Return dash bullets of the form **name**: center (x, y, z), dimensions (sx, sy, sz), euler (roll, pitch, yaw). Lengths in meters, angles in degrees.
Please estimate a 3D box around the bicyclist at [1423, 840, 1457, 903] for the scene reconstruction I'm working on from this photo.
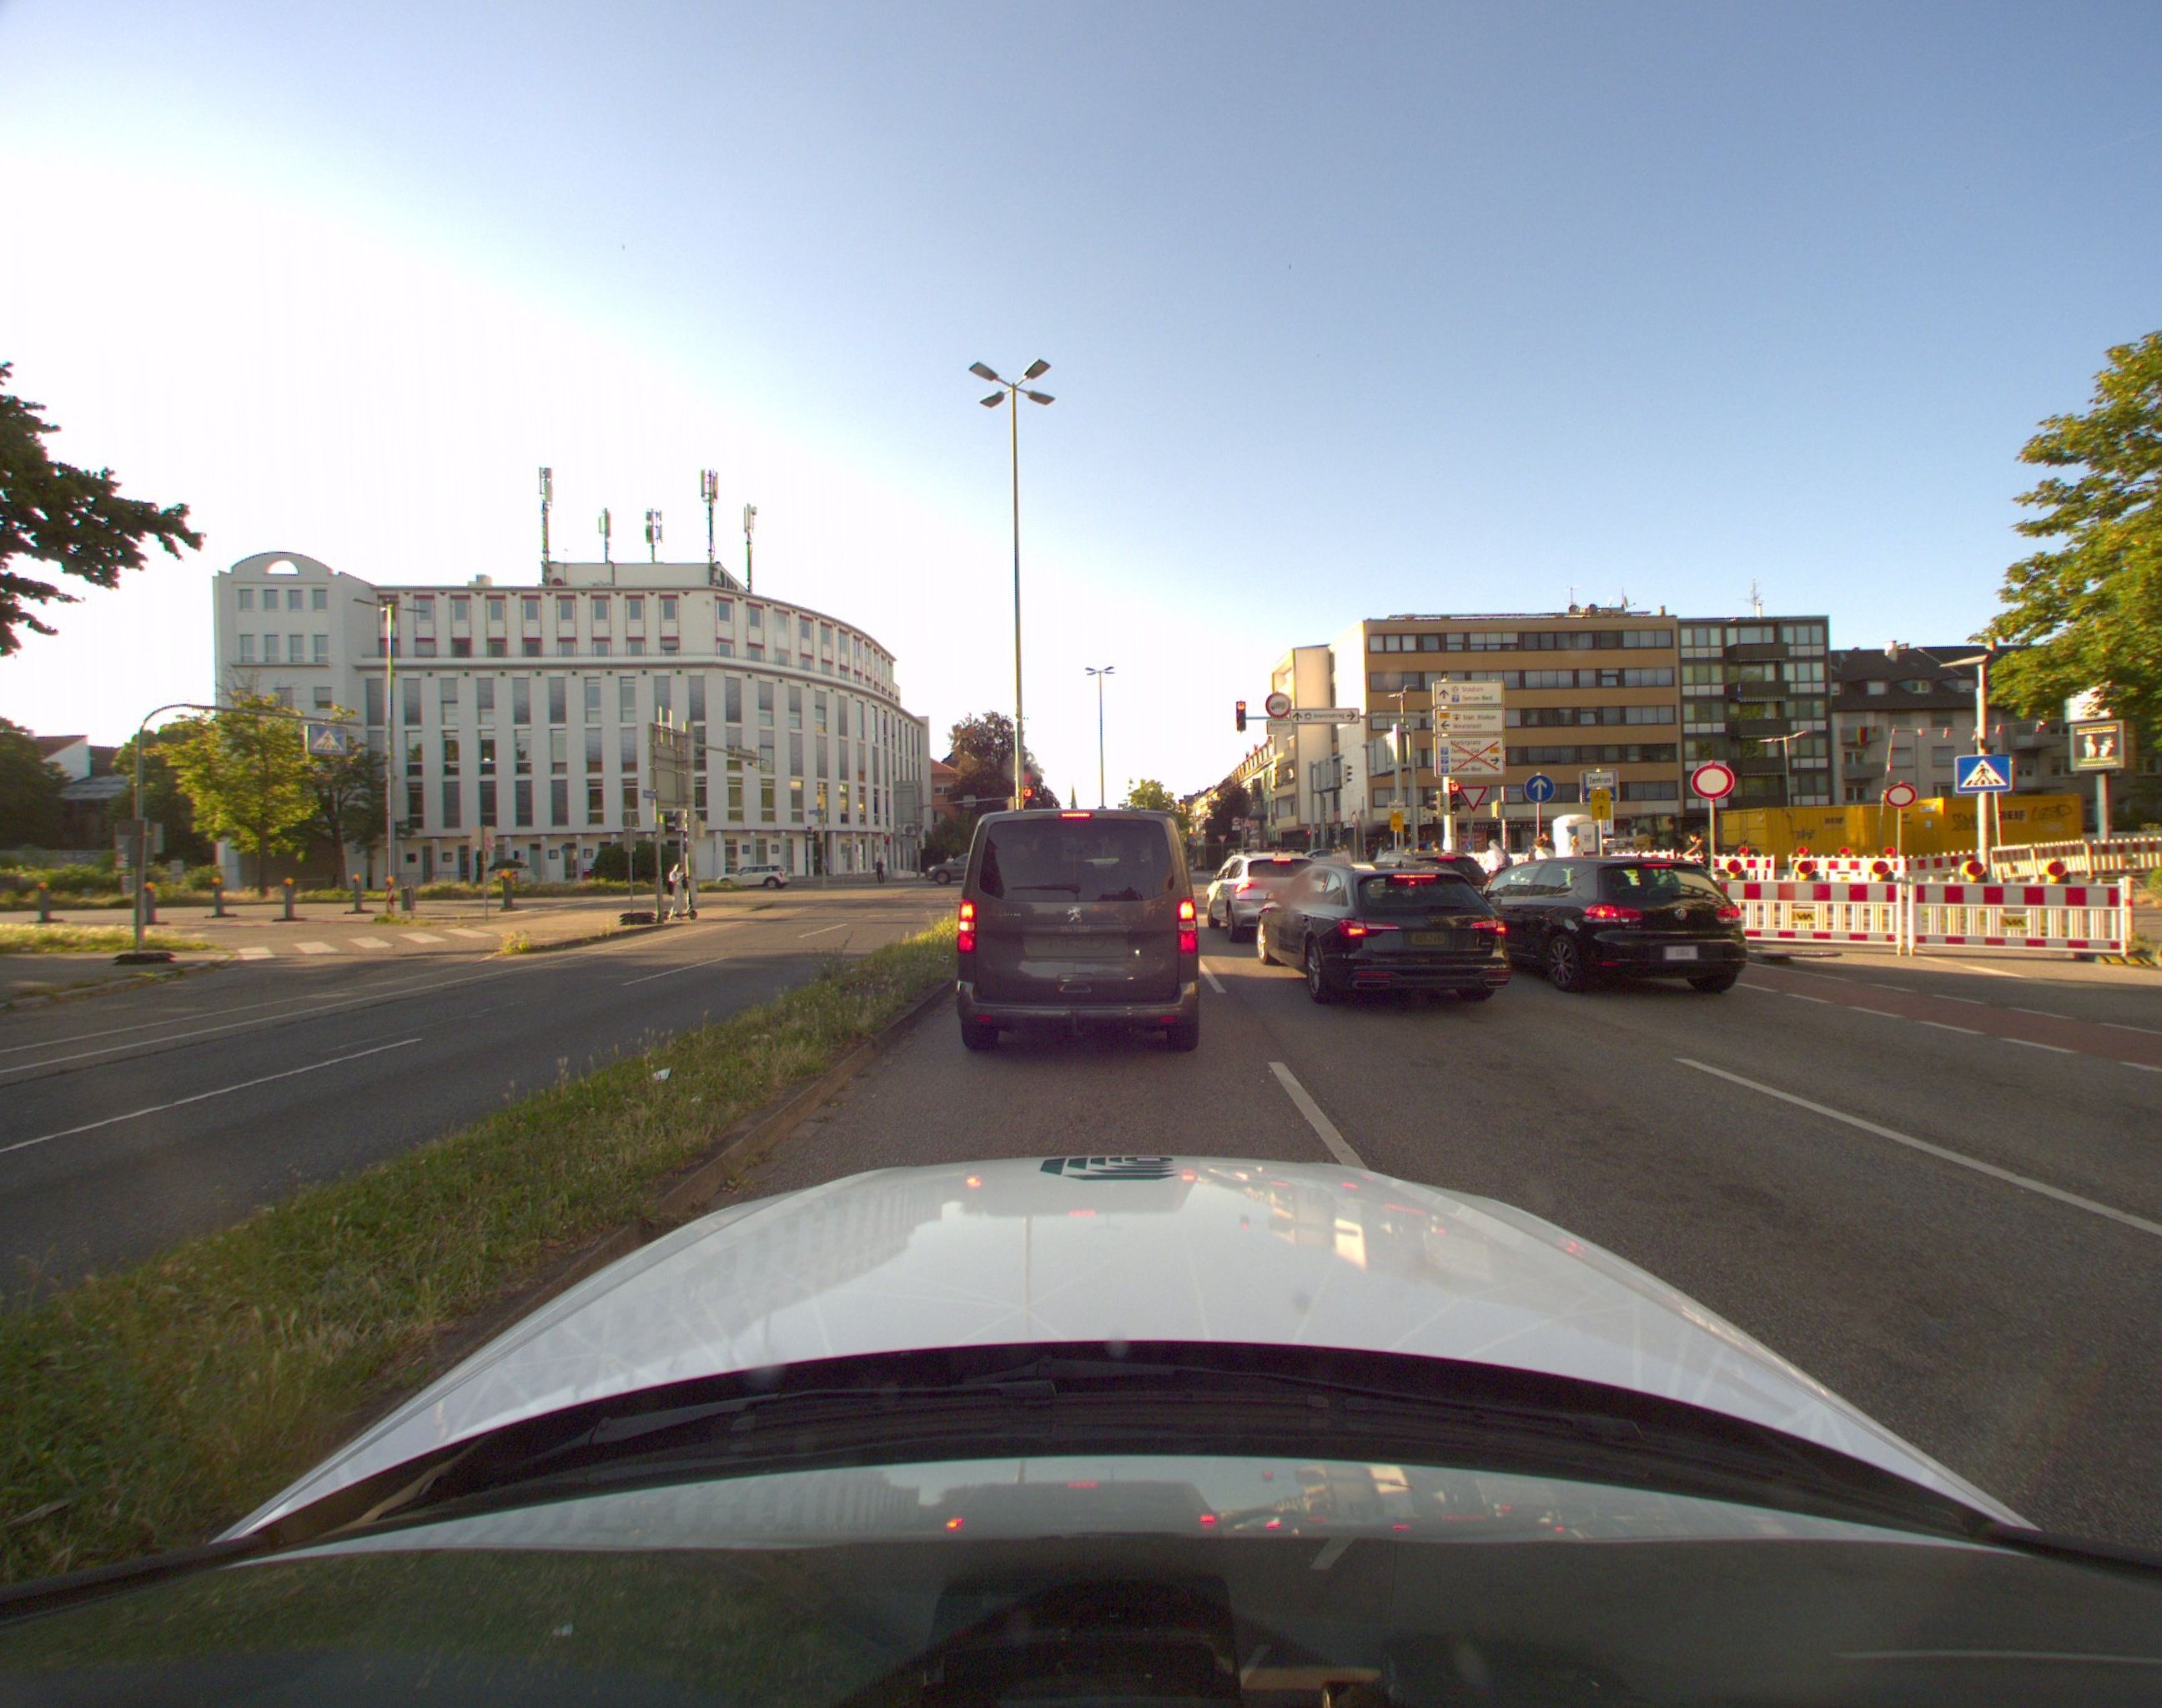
- **bicyclist**: center (8.996, 0.431, 20.416), dimensions (0.511, 1.525, 0.725), euler (-2, 0, 1)

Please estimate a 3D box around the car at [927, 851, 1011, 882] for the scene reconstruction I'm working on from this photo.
- **car**: center (-6.032, 0.677, 44.266), dimensions (4.329, 1.549, 1.785), euler (-2, 0, -4)

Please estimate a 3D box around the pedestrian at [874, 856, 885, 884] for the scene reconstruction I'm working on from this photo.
- **pedestrian**: center (-12.797, 1.027, 51.668), dimensions (0.626, 1.722, 0.668), euler (-2, 0, -12)

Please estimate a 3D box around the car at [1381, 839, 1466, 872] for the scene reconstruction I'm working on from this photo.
- **car**: center (20.425, 0.068, 48.705), dimensions (4.204, 1.817, 1.999), euler (-2, 0, -2)

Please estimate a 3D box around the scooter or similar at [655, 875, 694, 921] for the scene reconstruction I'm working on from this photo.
- **scooter or similar**: center (-11.518, 1.240, 23.102), dimensions (0.893, 1.234, 0.370), euler (-2, 0, -10)

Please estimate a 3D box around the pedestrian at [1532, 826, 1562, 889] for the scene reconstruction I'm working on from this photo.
- **pedestrian**: center (13.807, 0.099, 24.133), dimensions (0.570, 1.834, 0.485), euler (-1, 0, -13)

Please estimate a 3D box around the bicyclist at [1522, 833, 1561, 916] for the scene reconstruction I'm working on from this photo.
- **bicyclist**: center (8.661, 0.381, 15.327), dimensions (0.439, 1.525, 0.482), euler (-2, 0, 1)

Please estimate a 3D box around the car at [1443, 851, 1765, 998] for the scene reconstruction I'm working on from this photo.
- **car**: center (6.017, 0.700, 9.950), dimensions (1.627, 1.449, 3.746), euler (0, 0, 2)

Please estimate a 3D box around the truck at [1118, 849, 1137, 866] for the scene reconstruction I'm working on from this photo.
- **truck**: center (6.152, 0.448, 107.581), dimensions (2.116, 2.086, 4.642), euler (-2, 0, 8)

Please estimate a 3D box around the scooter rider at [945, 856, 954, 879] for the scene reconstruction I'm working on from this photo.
- **scooter rider**: center (-9.488, 0.974, 58.912), dimensions (0.479, 1.697, 0.636), euler (-2, 0, 1)

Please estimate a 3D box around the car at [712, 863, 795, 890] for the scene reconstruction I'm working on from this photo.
- **car**: center (-18.719, 1.265, 46.632), dimensions (3.979, 1.420, 1.785), euler (-2, 0, -4)

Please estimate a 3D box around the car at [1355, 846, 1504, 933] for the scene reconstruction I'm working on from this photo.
- **car**: center (6.538, 0.610, 15.639), dimensions (1.499, 1.449, 3.306), euler (-2, 0, 2)

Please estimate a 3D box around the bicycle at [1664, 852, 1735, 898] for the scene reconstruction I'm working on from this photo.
- **bicycle**: center (16.398, 0.543, 21.618), dimensions (1.480, 1.161, 0.376), euler (1, 1, 39)

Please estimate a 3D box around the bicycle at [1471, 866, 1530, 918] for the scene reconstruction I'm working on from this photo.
- **bicycle**: center (8.930, 0.787, 17.396), dimensions (0.335, 1.008, 1.856), euler (-2, 0, 2)

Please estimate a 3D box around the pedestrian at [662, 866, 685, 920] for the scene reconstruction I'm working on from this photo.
- **pedestrian**: center (-11.640, 1.104, 23.268), dimensions (0.474, 1.505, 0.334), euler (-1, 0, -10)

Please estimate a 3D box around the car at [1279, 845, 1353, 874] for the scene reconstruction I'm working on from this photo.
- **car**: center (13.322, 0.307, 46.239), dimensions (3.662, 1.387, 1.696), euler (-3, 0, 0)

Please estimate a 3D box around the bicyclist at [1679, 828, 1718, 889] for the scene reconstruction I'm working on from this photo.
- **bicyclist**: center (16.398, 0.113, 21.625), dimensions (0.804, 1.589, 0.624), euler (0, 1, 38)

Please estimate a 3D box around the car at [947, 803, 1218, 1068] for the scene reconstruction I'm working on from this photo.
- **car**: center (0.080, 0.570, 7.992), dimensions (1.900, 1.863, 4.528), euler (0, 0, 2)

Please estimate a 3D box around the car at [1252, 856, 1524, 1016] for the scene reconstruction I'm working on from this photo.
- **car**: center (3.202, 0.739, 9.424), dimensions (1.675, 1.421, 4.215), euler (0, 0, 2)

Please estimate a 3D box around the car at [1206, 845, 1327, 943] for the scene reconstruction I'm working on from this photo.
- **car**: center (3.322, 0.655, 15.215), dimensions (1.523, 1.613, 3.746), euler (0, 0, 2)

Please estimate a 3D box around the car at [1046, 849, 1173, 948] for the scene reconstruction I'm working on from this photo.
- **car**: center (0.520, 0.704, 15.031), dimensions (1.986, 1.530, 4.002), euler (-2, 0, 2)

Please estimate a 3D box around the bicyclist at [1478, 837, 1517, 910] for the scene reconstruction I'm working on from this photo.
- **bicyclist**: center (8.930, 0.402, 17.480), dimensions (0.439, 1.525, 0.725), euler (-2, 0, 2)

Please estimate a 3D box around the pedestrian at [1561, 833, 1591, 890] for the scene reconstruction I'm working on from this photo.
- **pedestrian**: center (14.776, 0.223, 24.319), dimensions (0.603, 1.671, 0.451), euler (-1, 0, -19)
